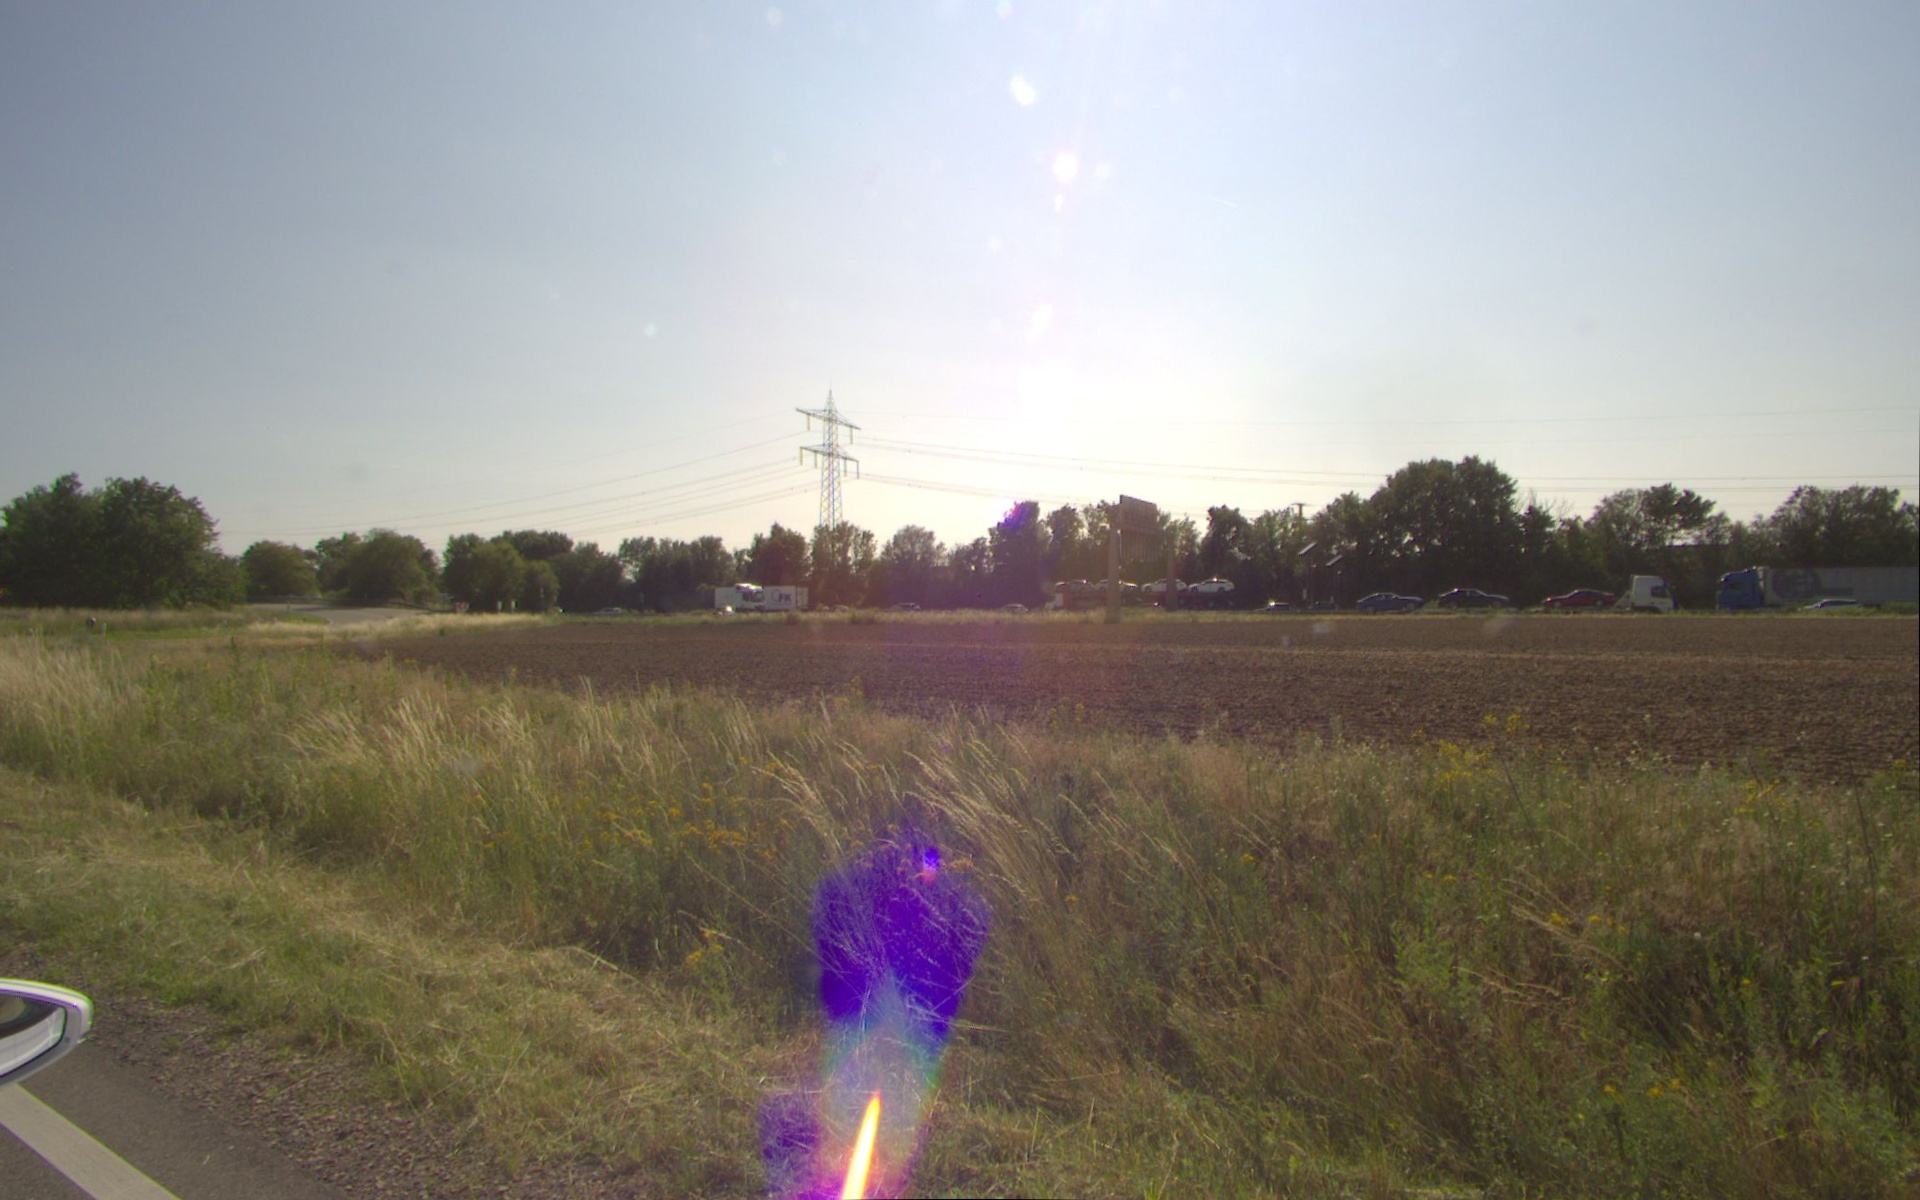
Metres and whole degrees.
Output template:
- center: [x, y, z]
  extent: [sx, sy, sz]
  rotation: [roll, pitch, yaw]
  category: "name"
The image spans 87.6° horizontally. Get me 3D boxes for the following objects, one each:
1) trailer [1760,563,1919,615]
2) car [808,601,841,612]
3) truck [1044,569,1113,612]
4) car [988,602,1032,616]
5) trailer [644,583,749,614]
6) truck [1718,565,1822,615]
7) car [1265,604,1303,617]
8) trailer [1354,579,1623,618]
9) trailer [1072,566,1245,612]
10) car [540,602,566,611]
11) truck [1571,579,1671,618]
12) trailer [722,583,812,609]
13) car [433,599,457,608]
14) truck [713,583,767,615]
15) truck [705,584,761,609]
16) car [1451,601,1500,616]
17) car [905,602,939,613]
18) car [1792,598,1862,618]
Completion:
- center: [69.341, -0.765, 75.725]
  extent: [13.431, 3.782, 3.066]
  rotation: [0, 0, 32]
  category: "trailer"
- center: [-15.636, 0.742, 115.540]
  extent: [3.525, 1.166, 1.394]
  rotation: [0, -1, 28]
  category: "car"
- center: [12.713, -0.968, 107.526]
  extent: [6.602, 4.512, 3.417]
  rotation: [0, 1, 28]
  category: "truck"
- center: [5.237, 0.926, 104.386]
  extent: [4.183, 1.403, 1.849]
  rotation: [0, -1, 30]
  category: "car"
- center: [-28.932, -0.142, 109.415]
  extent: [12.832, 3.312, 2.510]
  rotation: [0, 1, 28]
  category: "trailer"
- center: [63.885, -0.721, 79.136]
  extent: [5.998, 3.783, 3.066]
  rotation: [0, 0, 32]
  category: "truck"
- center: [29.458, 0.953, 91.015]
  extent: [3.133, 1.166, 1.393]
  rotation: [0, -1, 30]
  category: "car"
- center: [37.424, -0.109, 71.971]
  extent: [16.823, 2.565, 2.509]
  rotation: [0, 1, 29]
  category: "trailer"
- center: [20.263, -1.040, 103.446]
  extent: [17.292, 4.512, 3.417]
  rotation: [-1, 1, 28]
  category: "trailer"
- center: [-56.067, 0.911, 138.043]
  extent: [3.525, 1.166, 1.394]
  rotation: [0, -1, 28]
  category: "car"
- center: [44.709, -0.116, 67.916]
  extent: [5.450, 2.565, 2.509]
  rotation: [0, 1, 29]
  category: "truck"
- center: [-25.085, -0.488, 129.895]
  extent: [12.266, 3.311, 3.280]
  rotation: [-1, 1, 29]
  category: "trailer"
- center: [-81.926, 0.610, 159.398]
  extent: [3.571, 1.390, 1.769]
  rotation: [0, -2, 31]
  category: "car"
- center: [-23.416, -0.151, 106.478]
  extent: [5.273, 3.312, 2.510]
  rotation: [0, 1, 28]
  category: "truck"
- center: [-30.103, -0.445, 132.672]
  extent: [6.872, 3.311, 3.280]
  rotation: [0, 1, 29]
  category: "truck"
- center: [42.773, 0.704, 83.085]
  extent: [3.528, 1.166, 1.393]
  rotation: [0, -1, 31]
  category: "car"
- center: [-4.154, 0.814, 109.204]
  extent: [3.525, 1.166, 1.394]
  rotation: [0, -1, 28]
  category: "car"
- center: [62.140, 0.583, 71.801]
  extent: [3.548, 1.403, 1.490]
  rotation: [0, -1, 30]
  category: "car"
